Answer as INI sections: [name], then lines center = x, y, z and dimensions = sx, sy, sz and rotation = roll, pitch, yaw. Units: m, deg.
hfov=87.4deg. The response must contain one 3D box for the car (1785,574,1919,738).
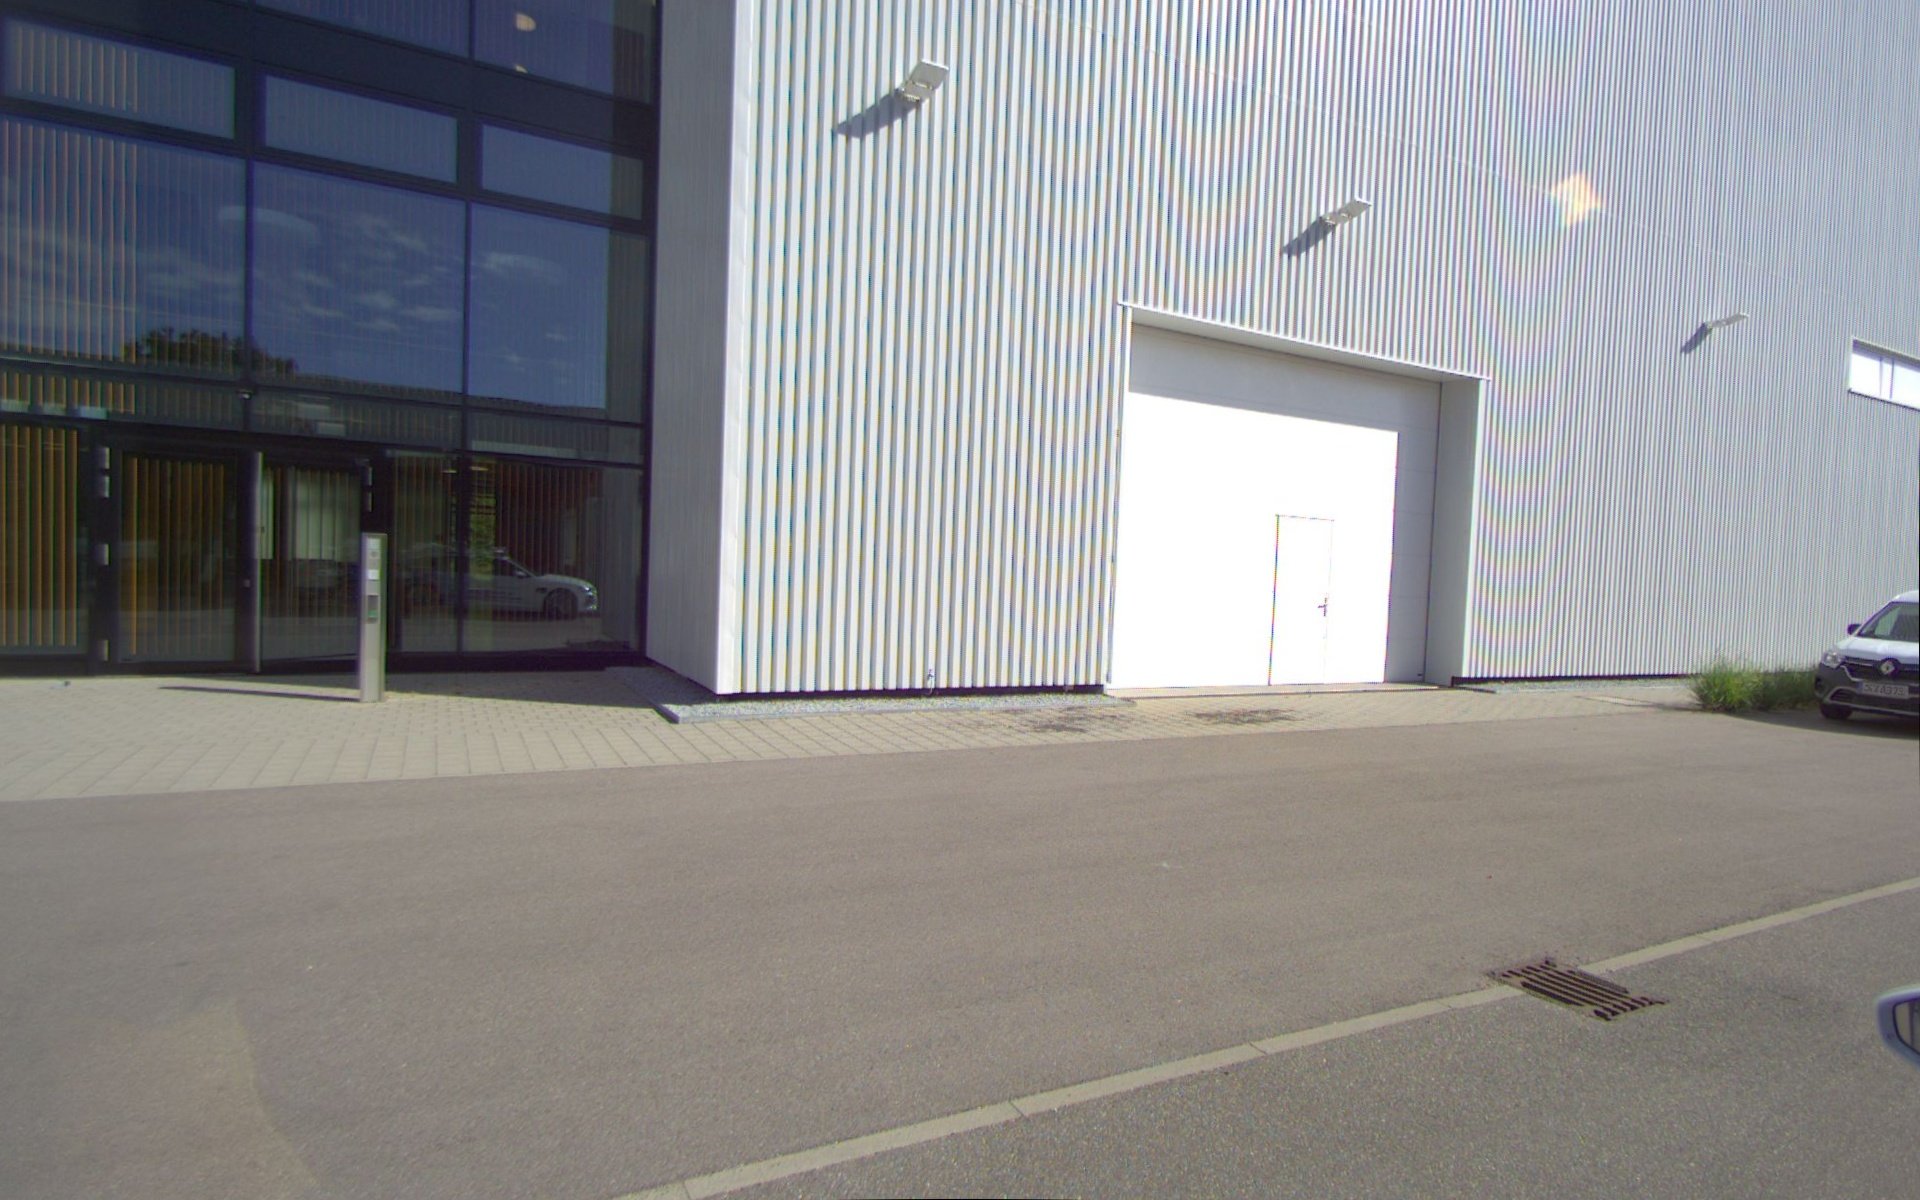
[car]
center = 13.073, 0.709, 13.196
dimensions = 4.305, 1.870, 1.882
rotation = 1, 4, -29
